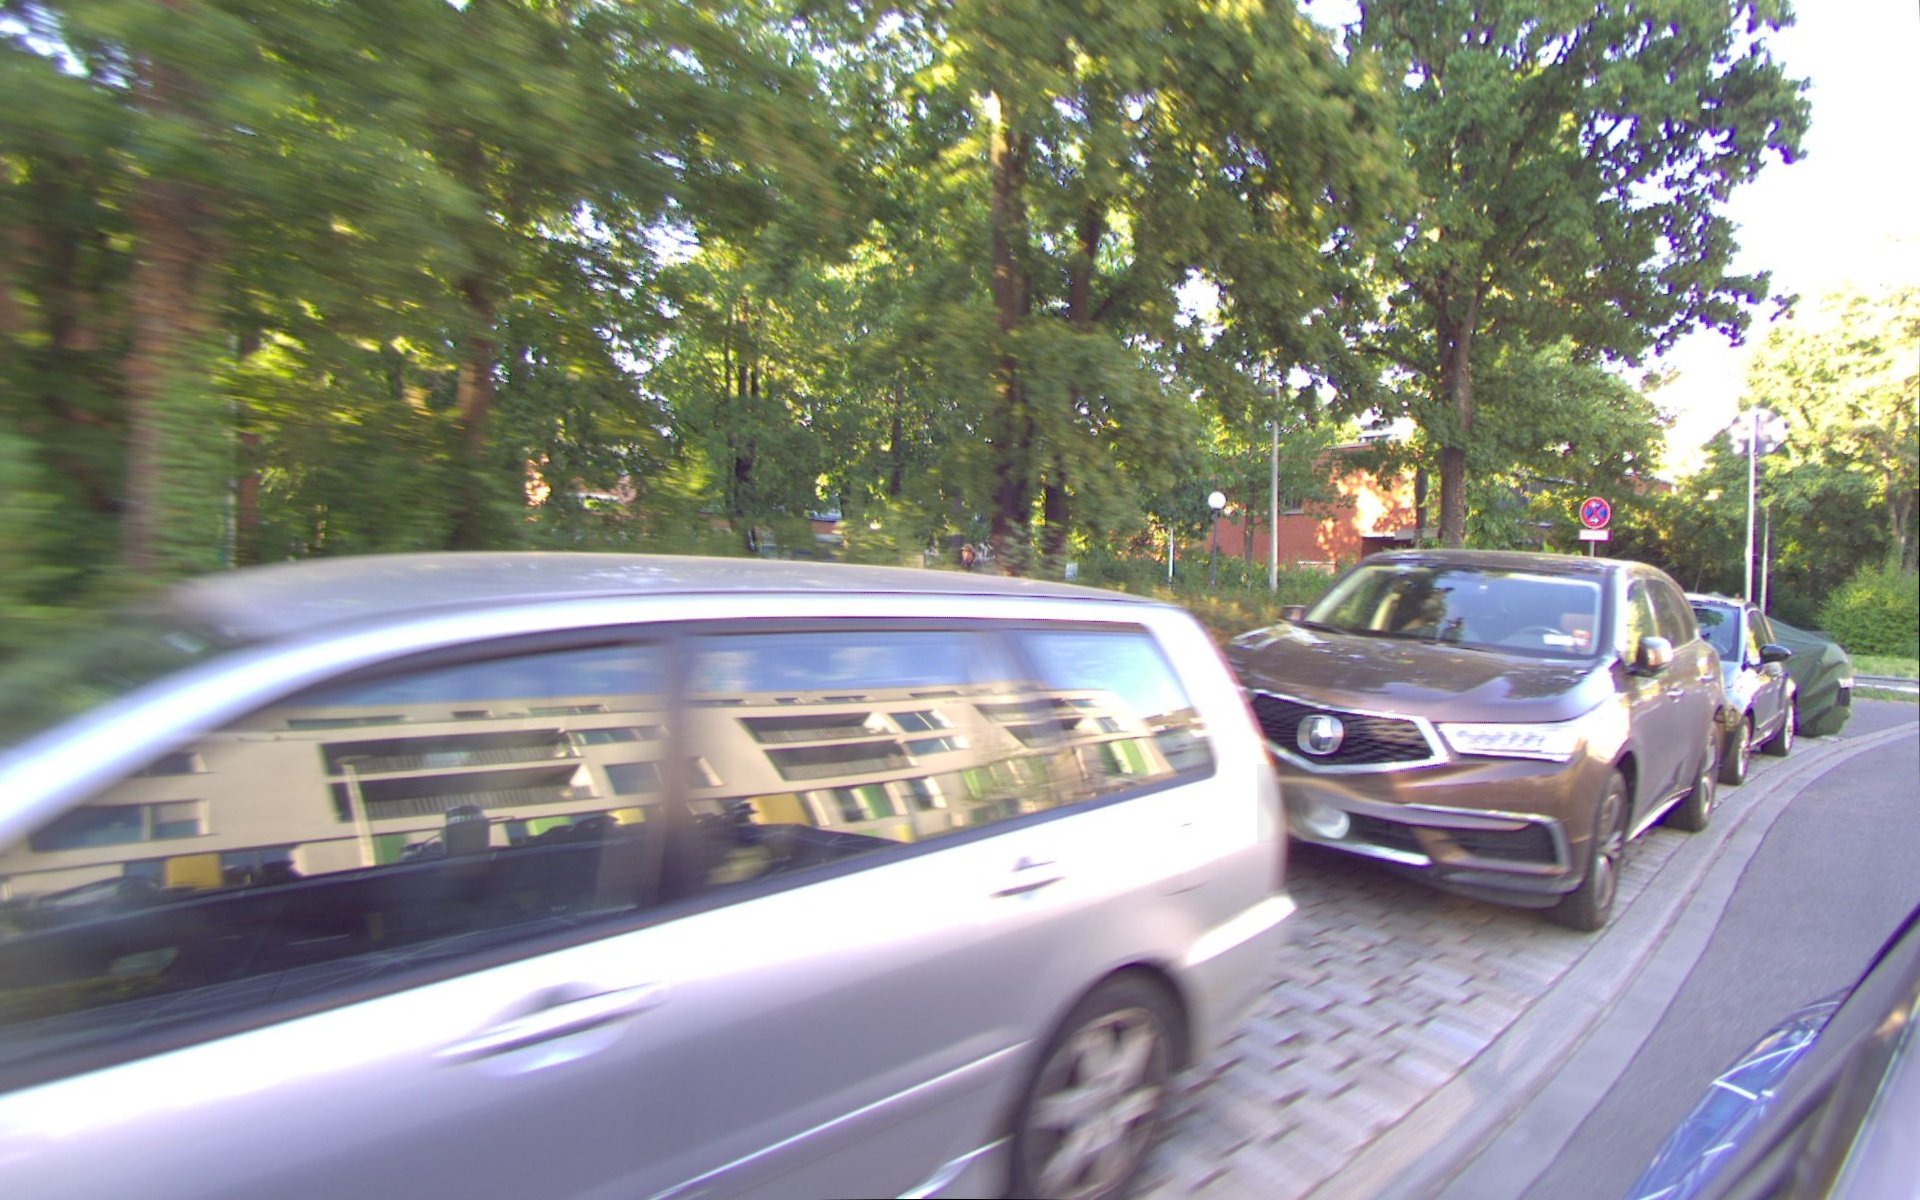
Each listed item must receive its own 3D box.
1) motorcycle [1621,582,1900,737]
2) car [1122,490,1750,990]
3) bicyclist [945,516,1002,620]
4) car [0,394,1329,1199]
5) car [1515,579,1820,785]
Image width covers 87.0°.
[{"bbox_3d":[9.255,0.608,11.831,1.019,1.564,2.302,1,2,-30],"label":"motorcycle"},{"bbox_3d":[3.085,0.462,5.914,1.922,1.770,4.592,3,2,44],"label":"car"},{"bbox_3d":[0.219,-0.512,16.586,0.711,1.665,0.533,1,1,-37],"label":"bicyclist"},{"bbox_3d":[-1.198,0.549,1.963,4.224,1.587,1.655,1,2,-40],"label":"car"},{"bbox_3d":[6.613,0.612,9.340,3.361,1.505,1.622,0,2,-43],"label":"car"}]
